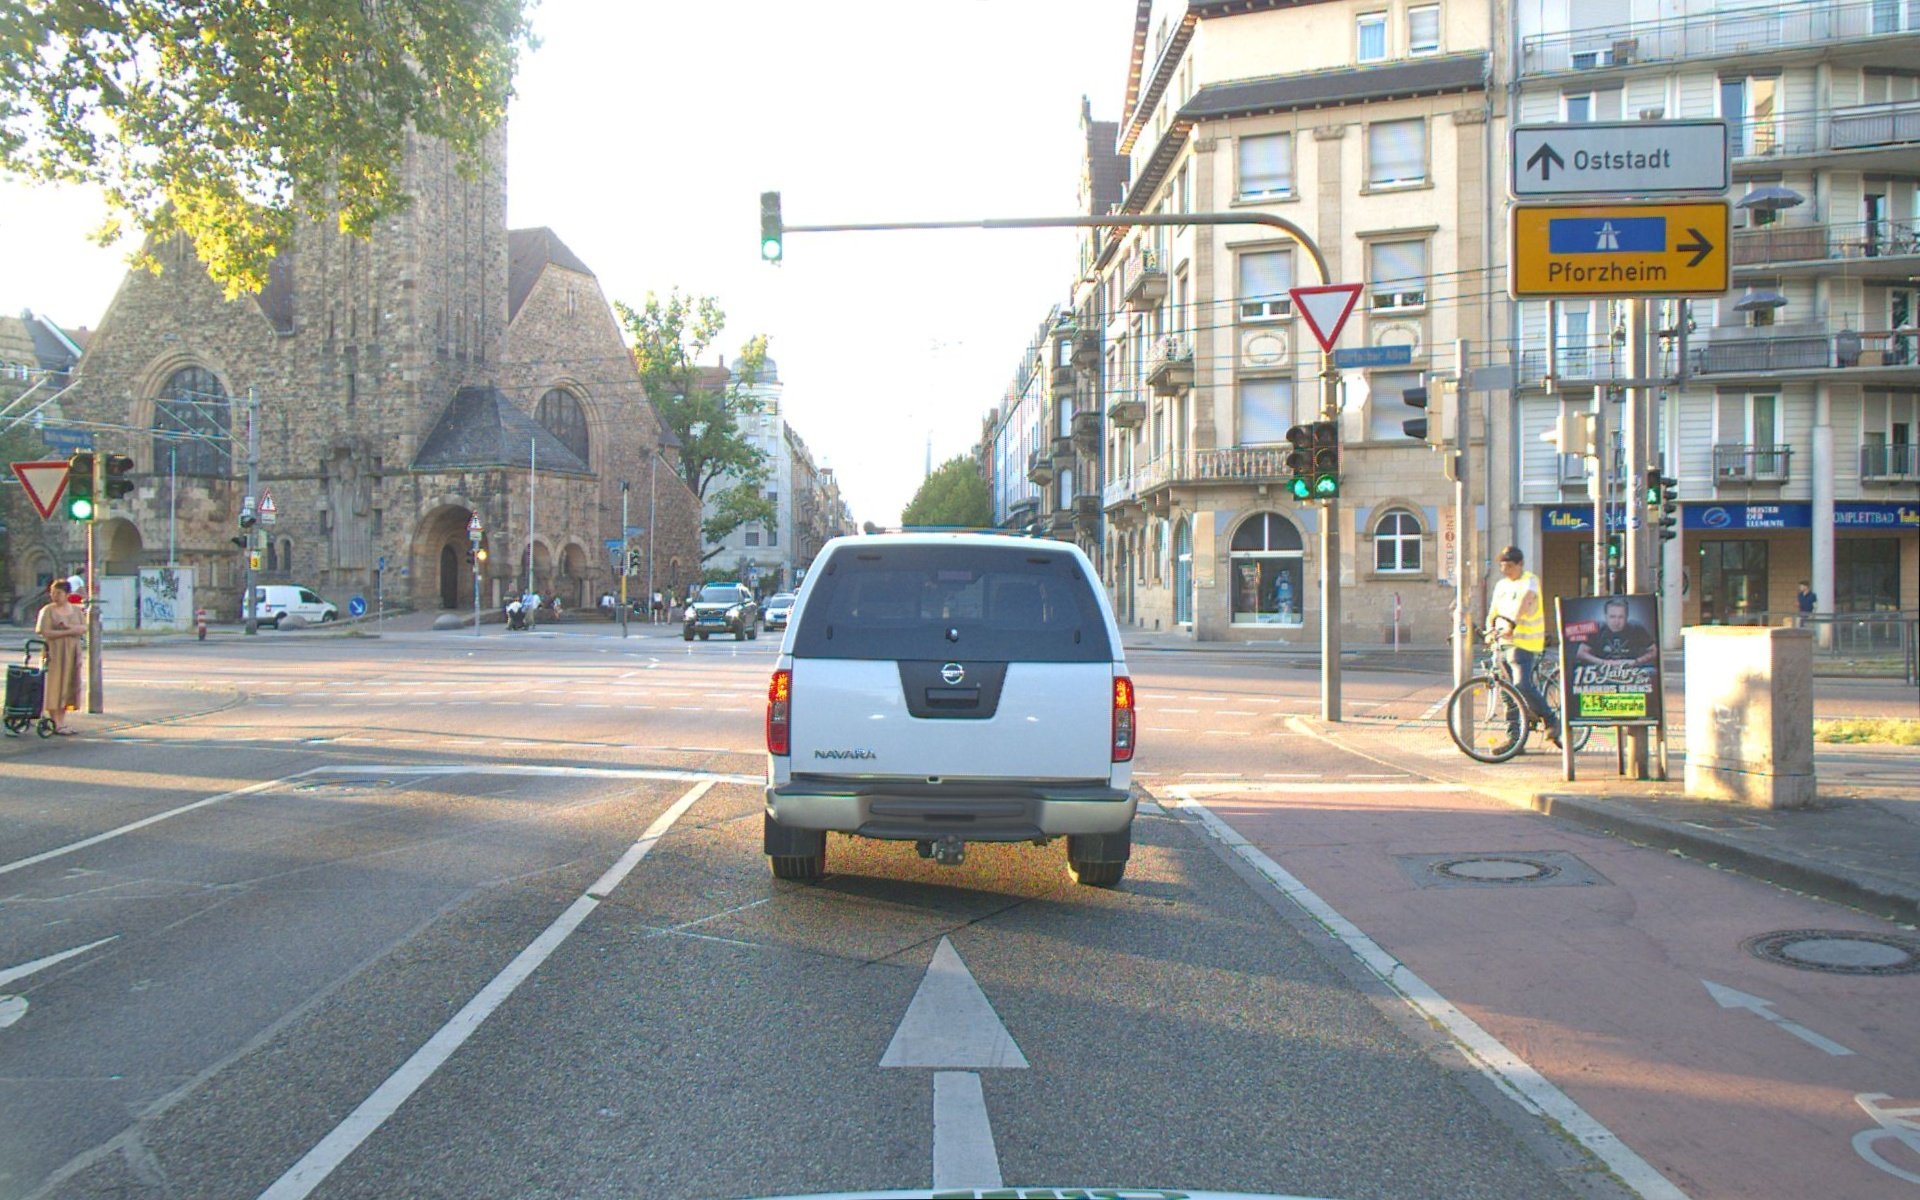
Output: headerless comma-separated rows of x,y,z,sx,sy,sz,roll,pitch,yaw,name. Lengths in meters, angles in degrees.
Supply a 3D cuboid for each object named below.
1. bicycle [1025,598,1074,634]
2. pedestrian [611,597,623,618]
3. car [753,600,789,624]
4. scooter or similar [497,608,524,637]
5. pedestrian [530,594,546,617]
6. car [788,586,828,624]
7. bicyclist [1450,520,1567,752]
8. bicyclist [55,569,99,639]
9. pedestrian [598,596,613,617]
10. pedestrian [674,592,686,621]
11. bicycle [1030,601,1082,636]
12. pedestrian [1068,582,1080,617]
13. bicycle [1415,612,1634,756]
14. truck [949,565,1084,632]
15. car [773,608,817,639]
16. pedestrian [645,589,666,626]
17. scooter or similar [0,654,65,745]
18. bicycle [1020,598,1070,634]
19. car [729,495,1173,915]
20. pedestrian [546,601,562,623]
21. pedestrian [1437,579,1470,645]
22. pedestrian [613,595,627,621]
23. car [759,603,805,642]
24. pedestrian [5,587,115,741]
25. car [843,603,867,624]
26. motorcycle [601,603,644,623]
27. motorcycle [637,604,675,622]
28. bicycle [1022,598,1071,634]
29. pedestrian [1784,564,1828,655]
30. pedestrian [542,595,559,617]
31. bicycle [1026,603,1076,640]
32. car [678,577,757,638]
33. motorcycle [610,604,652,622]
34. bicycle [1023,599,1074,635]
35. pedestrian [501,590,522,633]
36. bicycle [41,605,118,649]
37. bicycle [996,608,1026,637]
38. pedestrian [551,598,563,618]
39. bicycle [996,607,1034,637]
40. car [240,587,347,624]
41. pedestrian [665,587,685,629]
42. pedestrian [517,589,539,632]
3.406,0.617,62.829,1.781,1.259,0.412,-3,-1,-3,bicycle
-16.195,0.338,78.181,0.513,0.977,0.477,1,-1,-17,pedestrian
-11.567,0.726,101.593,1.821,1.422,3.998,1,-1,-2,car
-18.116,0.905,66.693,0.620,1.122,1.079,0,-1,10,scooter or similar
-18.587,0.248,72.885,0.511,0.977,0.479,1,-1,18,pedestrian
-8.597,0.252,93.582,1.953,2.049,4.948,-1,0,-2,car
4.544,0.291,13.700,0.690,1.856,0.621,1,-1,-33,bicyclist
-23.558,0.097,44.143,0.642,1.859,0.860,0,0,7,bicyclist
-16.809,0.319,78.345,0.510,0.977,0.479,1,-1,16,pedestrian
-16.556,0.401,97.767,0.630,1.725,0.561,1,-1,-2,pedestrian
3.500,0.673,60.453,1.781,1.170,0.636,-3,0,-3,bicycle
5.396,-0.027,78.435,0.517,1.683,0.547,1,-1,-1,pedestrian
4.741,0.680,13.831,2.046,1.129,0.621,1,-1,-34,bicycle
2.348,-0.040,67.001,5.630,2.610,2.250,1,0,-44,truck
-8.569,1.205,86.169,1.953,1.503,4.138,-1,0,-2,car
-13.975,0.350,75.920,0.796,1.699,0.859,1,-1,-3,pedestrian
-9.850,1.031,17.324,0.580,0.913,0.849,1,-1,-11,scooter or similar
3.277,0.626,63.963,1.818,1.259,0.530,-3,-1,-3,bicycle
-0.062,0.485,9.391,1.953,1.841,3.999,1,-1,-1,car
-18.116,0.543,73.785,0.469,0.977,0.522,0,-1,29,pedestrian
13.502,0.326,45.252,0.771,1.810,0.543,0,-1,25,pedestrian
-16.489,0.383,80.177,0.468,1.267,0.523,1,-1,16,pedestrian
-7.899,0.971,73.106,1.956,1.585,4.761,1,1,-7,car
-9.877,0.693,18.169,0.786,1.656,0.773,1,-1,-6,pedestrian
-8.208,1.063,129.532,1.822,1.556,3.996,1,-1,-4,car
-18.303,0.700,89.610,2.201,1.005,0.707,1,-1,-7,motorcycle
-17.266,0.751,93.940,2.119,1.005,0.594,1,-1,19,motorcycle
3.327,0.621,63.433,1.781,1.259,0.410,-3,-1,-3,bicycle
21.122,0.241,41.302,0.850,2.247,0.821,1,-1,19,pedestrian
-17.973,0.255,72.619,0.511,0.977,0.479,1,-1,18,pedestrian
3.374,0.793,61.390,1.781,1.259,0.488,-3,-1,-3,bicycle
-7.701,0.200,52.932,1.953,1.815,4.796,-1,1,-2,car
-18.238,0.718,91.638,2.201,1.005,0.707,1,-1,-7,motorcycle
3.317,0.644,62.102,1.781,1.259,0.477,-3,-1,-3,bicycle
-18.348,0.461,67.682,0.620,1.728,0.603,1,-1,9,pedestrian
-23.544,0.712,44.281,0.642,1.096,2.247,2,1,6,bicycle
1.897,0.835,61.776,1.055,1.042,0.317,-3,-1,-3,bicycle
-20.488,0.415,84.076,0.543,0.977,0.706,1,-1,-19,pedestrian
2.075,0.828,62.490,1.344,1.042,0.317,-3,-1,-3,bicycle
-29.078,0.272,72.325,1.679,1.543,4.454,1,-1,23,car
-13.111,0.367,75.993,0.796,1.934,0.666,1,-1,-3,pedestrian
-17.630,0.433,67.515,0.620,1.728,0.603,1,-1,10,pedestrian
